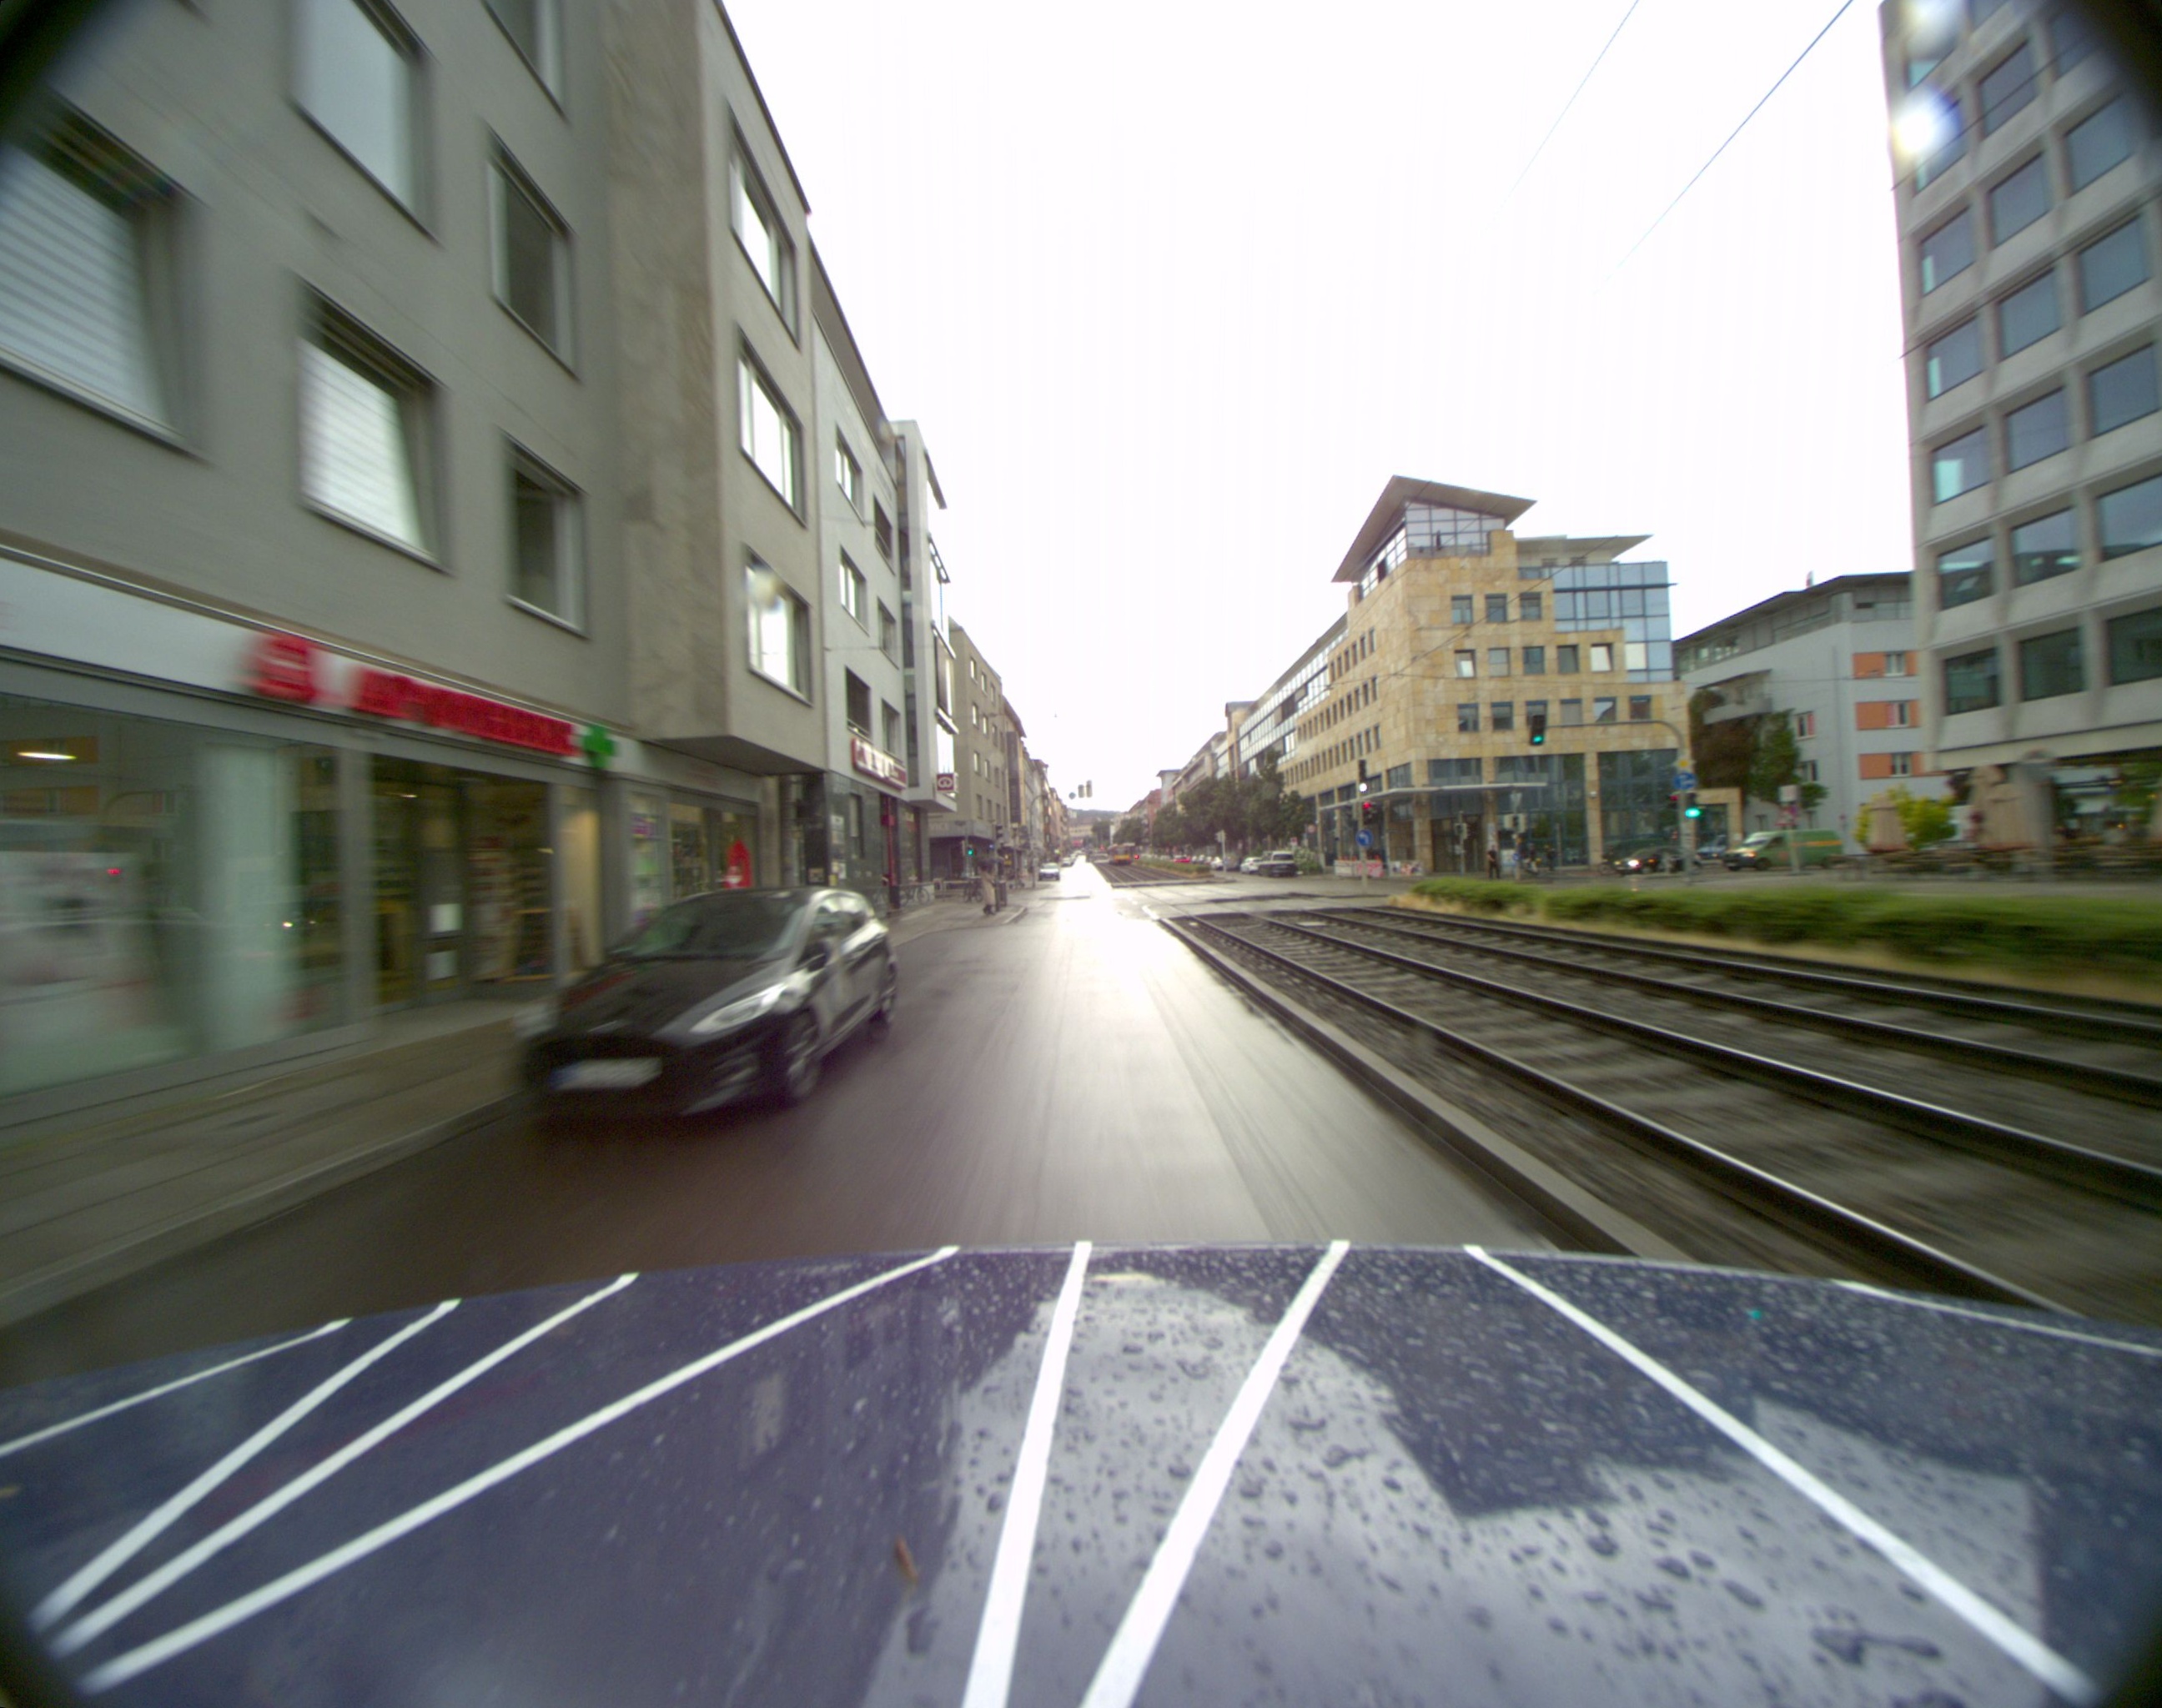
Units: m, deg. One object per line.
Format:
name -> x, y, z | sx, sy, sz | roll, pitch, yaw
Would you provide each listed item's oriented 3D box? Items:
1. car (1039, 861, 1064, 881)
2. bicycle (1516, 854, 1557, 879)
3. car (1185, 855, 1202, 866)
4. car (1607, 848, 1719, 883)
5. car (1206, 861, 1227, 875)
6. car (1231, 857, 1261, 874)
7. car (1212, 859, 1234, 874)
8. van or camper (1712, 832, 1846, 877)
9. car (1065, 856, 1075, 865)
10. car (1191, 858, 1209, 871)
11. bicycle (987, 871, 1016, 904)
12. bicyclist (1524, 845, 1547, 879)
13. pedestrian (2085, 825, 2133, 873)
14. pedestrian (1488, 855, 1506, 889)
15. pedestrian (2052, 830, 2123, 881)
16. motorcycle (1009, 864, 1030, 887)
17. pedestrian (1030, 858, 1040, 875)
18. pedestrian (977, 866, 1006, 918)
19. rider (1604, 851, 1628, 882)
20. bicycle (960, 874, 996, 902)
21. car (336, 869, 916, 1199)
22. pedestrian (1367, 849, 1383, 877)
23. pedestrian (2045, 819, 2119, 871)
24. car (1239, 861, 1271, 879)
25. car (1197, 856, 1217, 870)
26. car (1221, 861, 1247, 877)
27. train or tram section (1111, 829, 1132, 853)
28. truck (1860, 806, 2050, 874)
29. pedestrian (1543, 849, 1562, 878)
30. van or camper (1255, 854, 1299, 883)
car -> -2.614, 1.470, 67.973 | 2.029, 1.584, 4.620 | -2, 0, -1
bicycle -> 24.894, 0.678, 41.566 | 1.768, 1.303, 0.660 | -3, 0, 0
car -> 15.584, 0.897, 105.293 | 1.653, 1.531, 4.622 | -2, 0, 1
car -> 28.646, 0.564, 37.501 | 3.996, 1.521, 1.891 | -3, -1, 1
car -> 15.512, 1.559, 87.309 | 1.653, 1.489, 4.293 | -2, 0, 1
car -> 15.673, 1.141, 72.363 | 1.693, 1.477, 4.296 | -3, -1, -2
car -> 15.293, 1.296, 81.970 | 1.653, 1.489, 4.192 | -2, 0, 1
van or camper -> 36.981, 0.040, 40.340 | 5.095, 2.049, 2.097 | -3, -1, 0
car -> -1.904, 1.112, 134.656 | 1.653, 1.489, 4.067 | -2, 0, 1
car -> 15.560, 1.337, 99.467 | 1.653, 1.531, 4.622 | -2, 0, 1
bicycle -> -3.167, 1.312, 30.185 | 0.499, 1.251, 1.953 | -3, 0, -24
bicyclist -> 24.836, 0.434, 41.558 | 0.710, 1.793, 0.784 | -3, 0, 0
pedestrian -> 28.756, -0.140, 21.265 | 0.524, 1.314, 0.553 | -3, 0, 1
pedestrian -> 22.162, 0.943, 40.495 | 0.677, 1.770, 0.705 | -3, 0, 35
pedestrian -> 31.498, 0.056, 23.801 | 0.964, 1.523, 0.897 | -3, 0, -1
motorcycle -> -3.942, 1.364, 48.853 | 1.134, 1.452, 0.682 | -2, 0, -36
pedestrian -> -4.596, 1.280, 75.659 | 0.793, 1.649, 0.721 | -4, 0, 0
pedestrian -> -2.752, 1.155, 23.403 | 0.662, 1.573, 0.778 | -2, 0, -21
rider -> 29.344, 0.695, 41.688 | 0.710, 1.665, 0.784 | -3, 0, 0
bicycle -> -4.403, 1.449, 32.319 | 0.579, 1.150, 1.952 | -3, 0, -36
car -> -2.857, 0.993, 6.130 | 1.998, 1.584, 4.271 | -2, 0, 1
pedestrian -> 19.839, 0.597, 51.256 | 0.703, 1.804, 0.679 | -3, 0, 3
pedestrian -> 30.205, -0.259, 22.948 | 0.896, 1.523, 0.965 | -3, 0, -1
car -> 15.187, 1.415, 66.585 | 1.693, 1.477, 4.256 | -3, -1, -1
car -> 15.421, 1.073, 93.083 | 1.653, 1.592, 4.293 | -2, 0, 1
car -> 15.491, 1.487, 76.980 | 1.693, 1.477, 4.000 | -3, -1, -1
train or tram section -> 7.261, -2.249, 139.217 | 2.909, 4.027, 18.766 | -2, 0, 0
truck -> 46.114, -0.697, 40.222 | 7.167, 3.145, 2.461 | -3, -1, -1
pedestrian -> 27.786, 0.567, 44.789 | 0.580, 1.626, 0.703 | -4, -1, 1
van or camper -> 15.147, 1.098, 59.001 | 2.022, 1.986, 5.197 | -3, 1, 1
